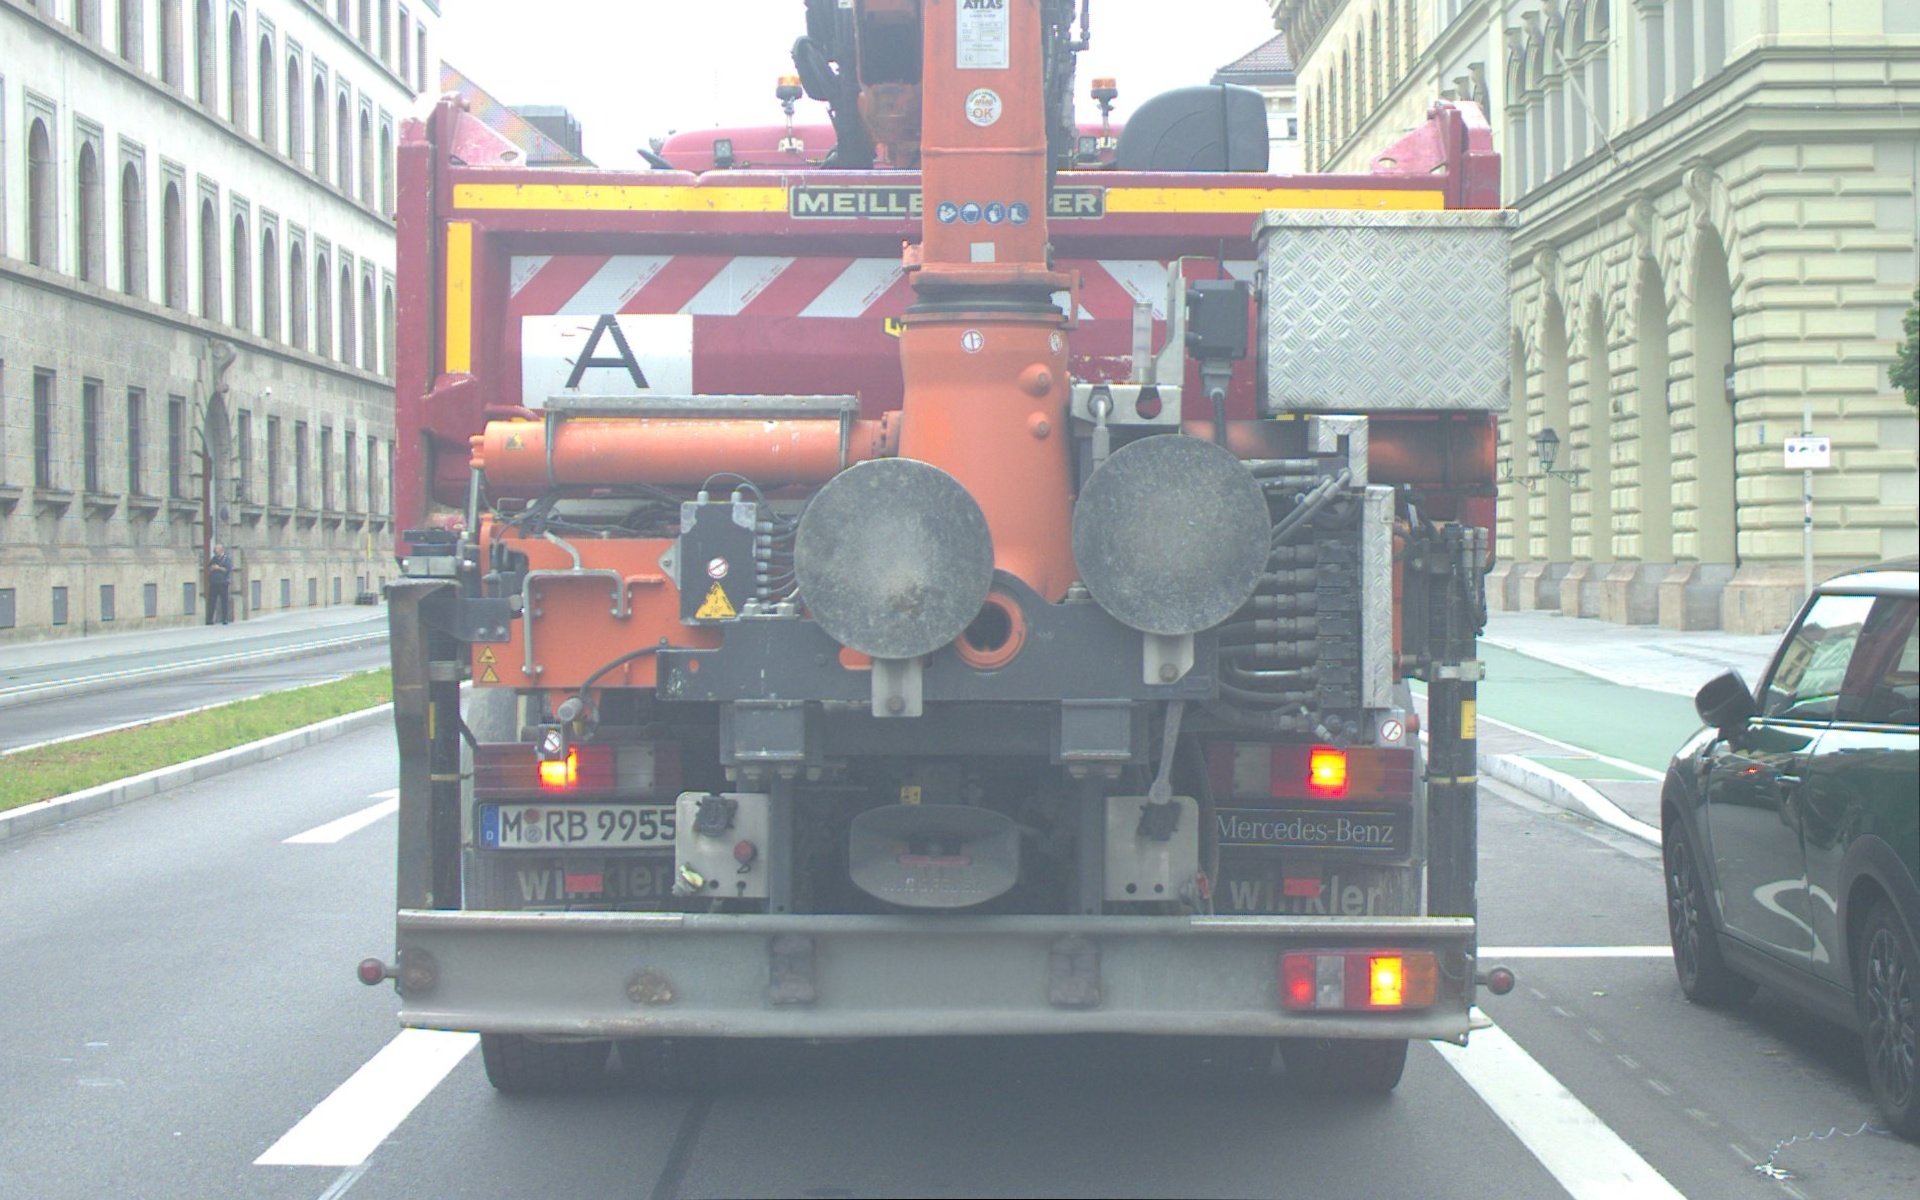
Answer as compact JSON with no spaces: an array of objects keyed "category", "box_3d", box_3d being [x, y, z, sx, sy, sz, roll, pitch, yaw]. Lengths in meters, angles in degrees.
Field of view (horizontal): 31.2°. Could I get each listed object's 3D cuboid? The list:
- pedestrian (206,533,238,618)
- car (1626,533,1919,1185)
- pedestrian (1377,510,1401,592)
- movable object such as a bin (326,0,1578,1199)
[{"category":"pedestrian","box_3d":[-15.852,-0.527,73.819,0.588,1.825,0.499,0,1,-1]},{"category":"car","box_3d":[3.012,0.560,9.635,1.610,1.490,3.424,-1,1,0]},{"category":"pedestrian","box_3d":[9.623,-1.098,77.117,0.445,1.830,0.556,-1,1,1]},{"category":"movable object such as a bin","box_3d":[-0.061,-0.471,9.598,2.423,3.599,5.852,0,1,-1]}]
